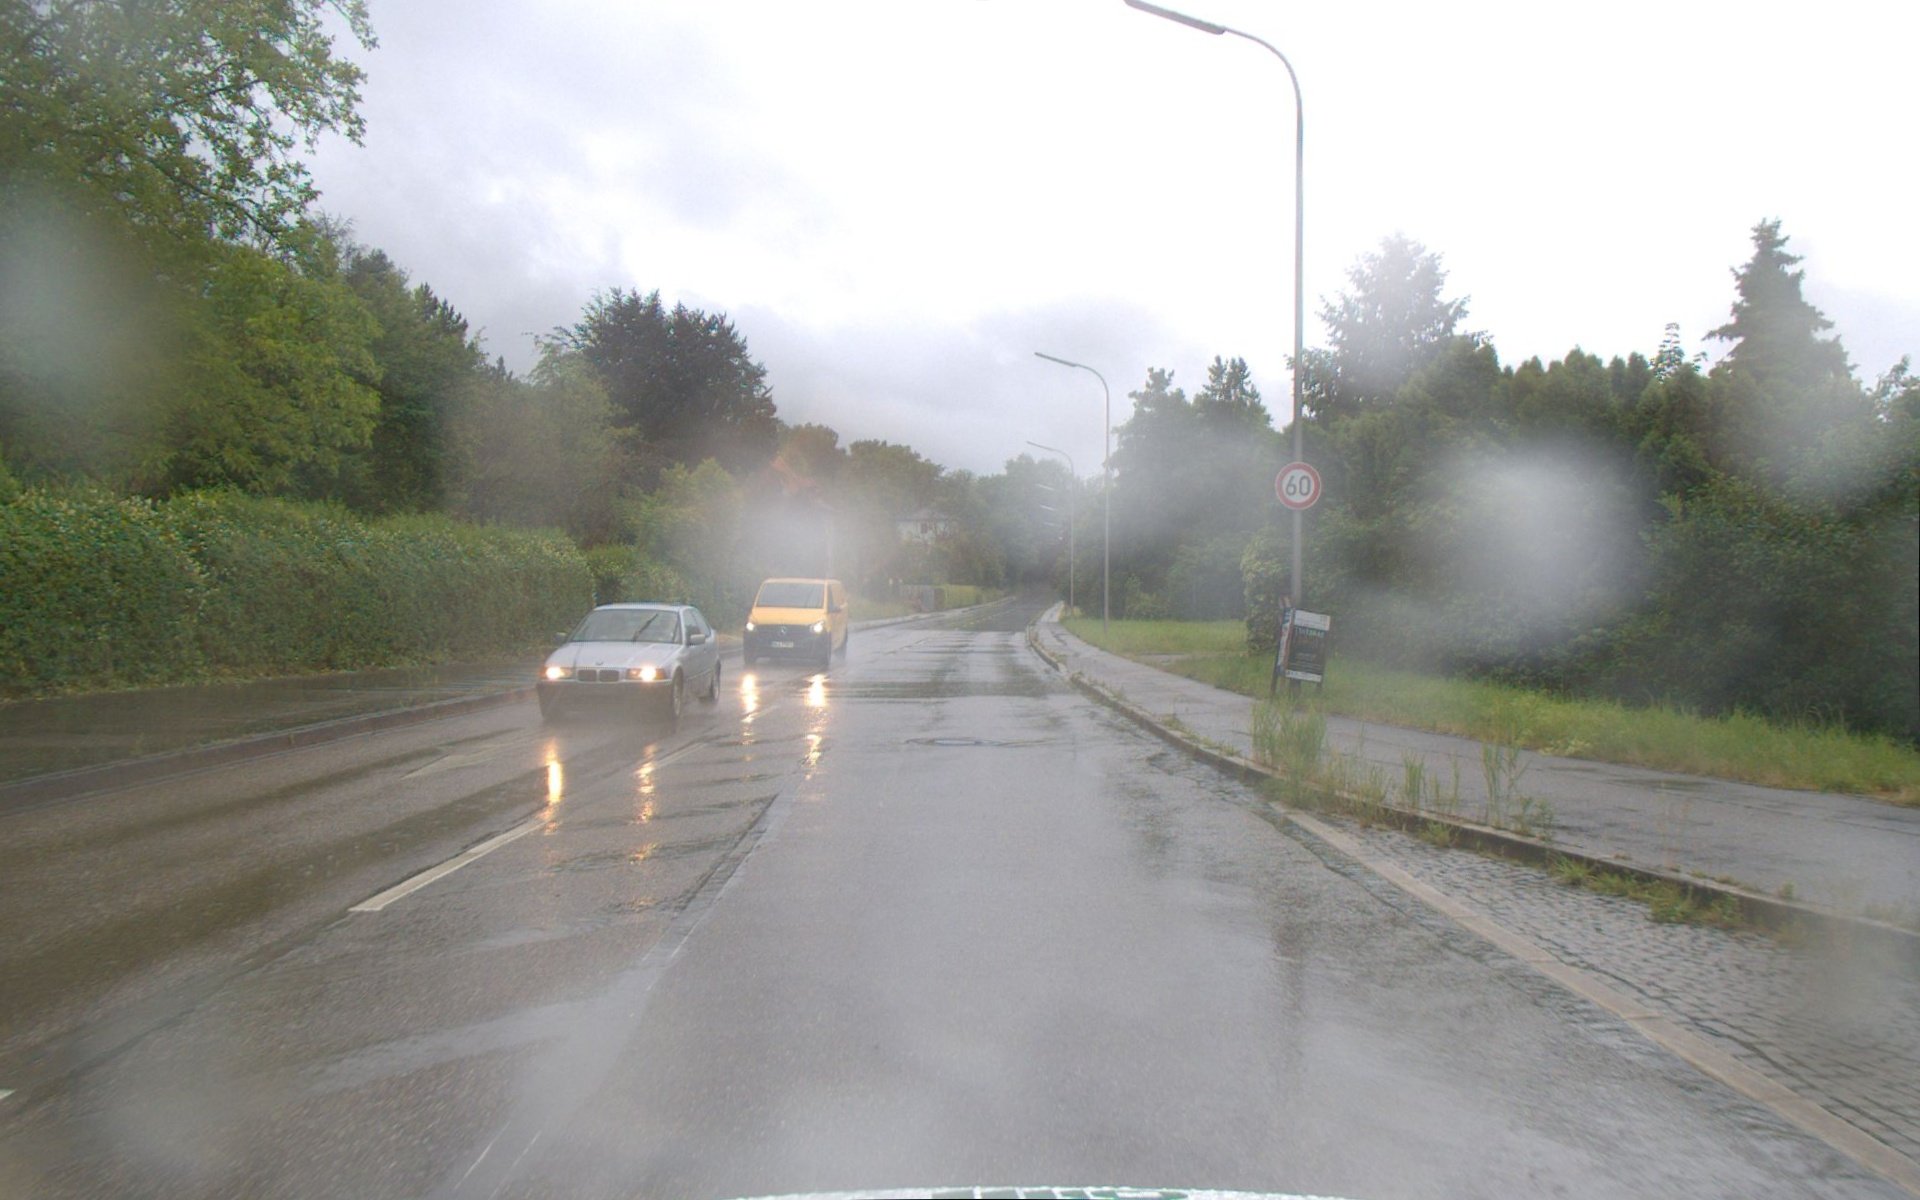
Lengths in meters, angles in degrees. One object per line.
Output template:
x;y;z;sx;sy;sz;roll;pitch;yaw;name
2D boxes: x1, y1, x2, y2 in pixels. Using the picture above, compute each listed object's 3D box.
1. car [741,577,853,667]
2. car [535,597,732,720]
-3.643;0.458;37.824;1.897;1.904;5.037;0;0;2;car
-3.982;0.661;20.740;1.667;1.373;3.905;0;0;0;car
